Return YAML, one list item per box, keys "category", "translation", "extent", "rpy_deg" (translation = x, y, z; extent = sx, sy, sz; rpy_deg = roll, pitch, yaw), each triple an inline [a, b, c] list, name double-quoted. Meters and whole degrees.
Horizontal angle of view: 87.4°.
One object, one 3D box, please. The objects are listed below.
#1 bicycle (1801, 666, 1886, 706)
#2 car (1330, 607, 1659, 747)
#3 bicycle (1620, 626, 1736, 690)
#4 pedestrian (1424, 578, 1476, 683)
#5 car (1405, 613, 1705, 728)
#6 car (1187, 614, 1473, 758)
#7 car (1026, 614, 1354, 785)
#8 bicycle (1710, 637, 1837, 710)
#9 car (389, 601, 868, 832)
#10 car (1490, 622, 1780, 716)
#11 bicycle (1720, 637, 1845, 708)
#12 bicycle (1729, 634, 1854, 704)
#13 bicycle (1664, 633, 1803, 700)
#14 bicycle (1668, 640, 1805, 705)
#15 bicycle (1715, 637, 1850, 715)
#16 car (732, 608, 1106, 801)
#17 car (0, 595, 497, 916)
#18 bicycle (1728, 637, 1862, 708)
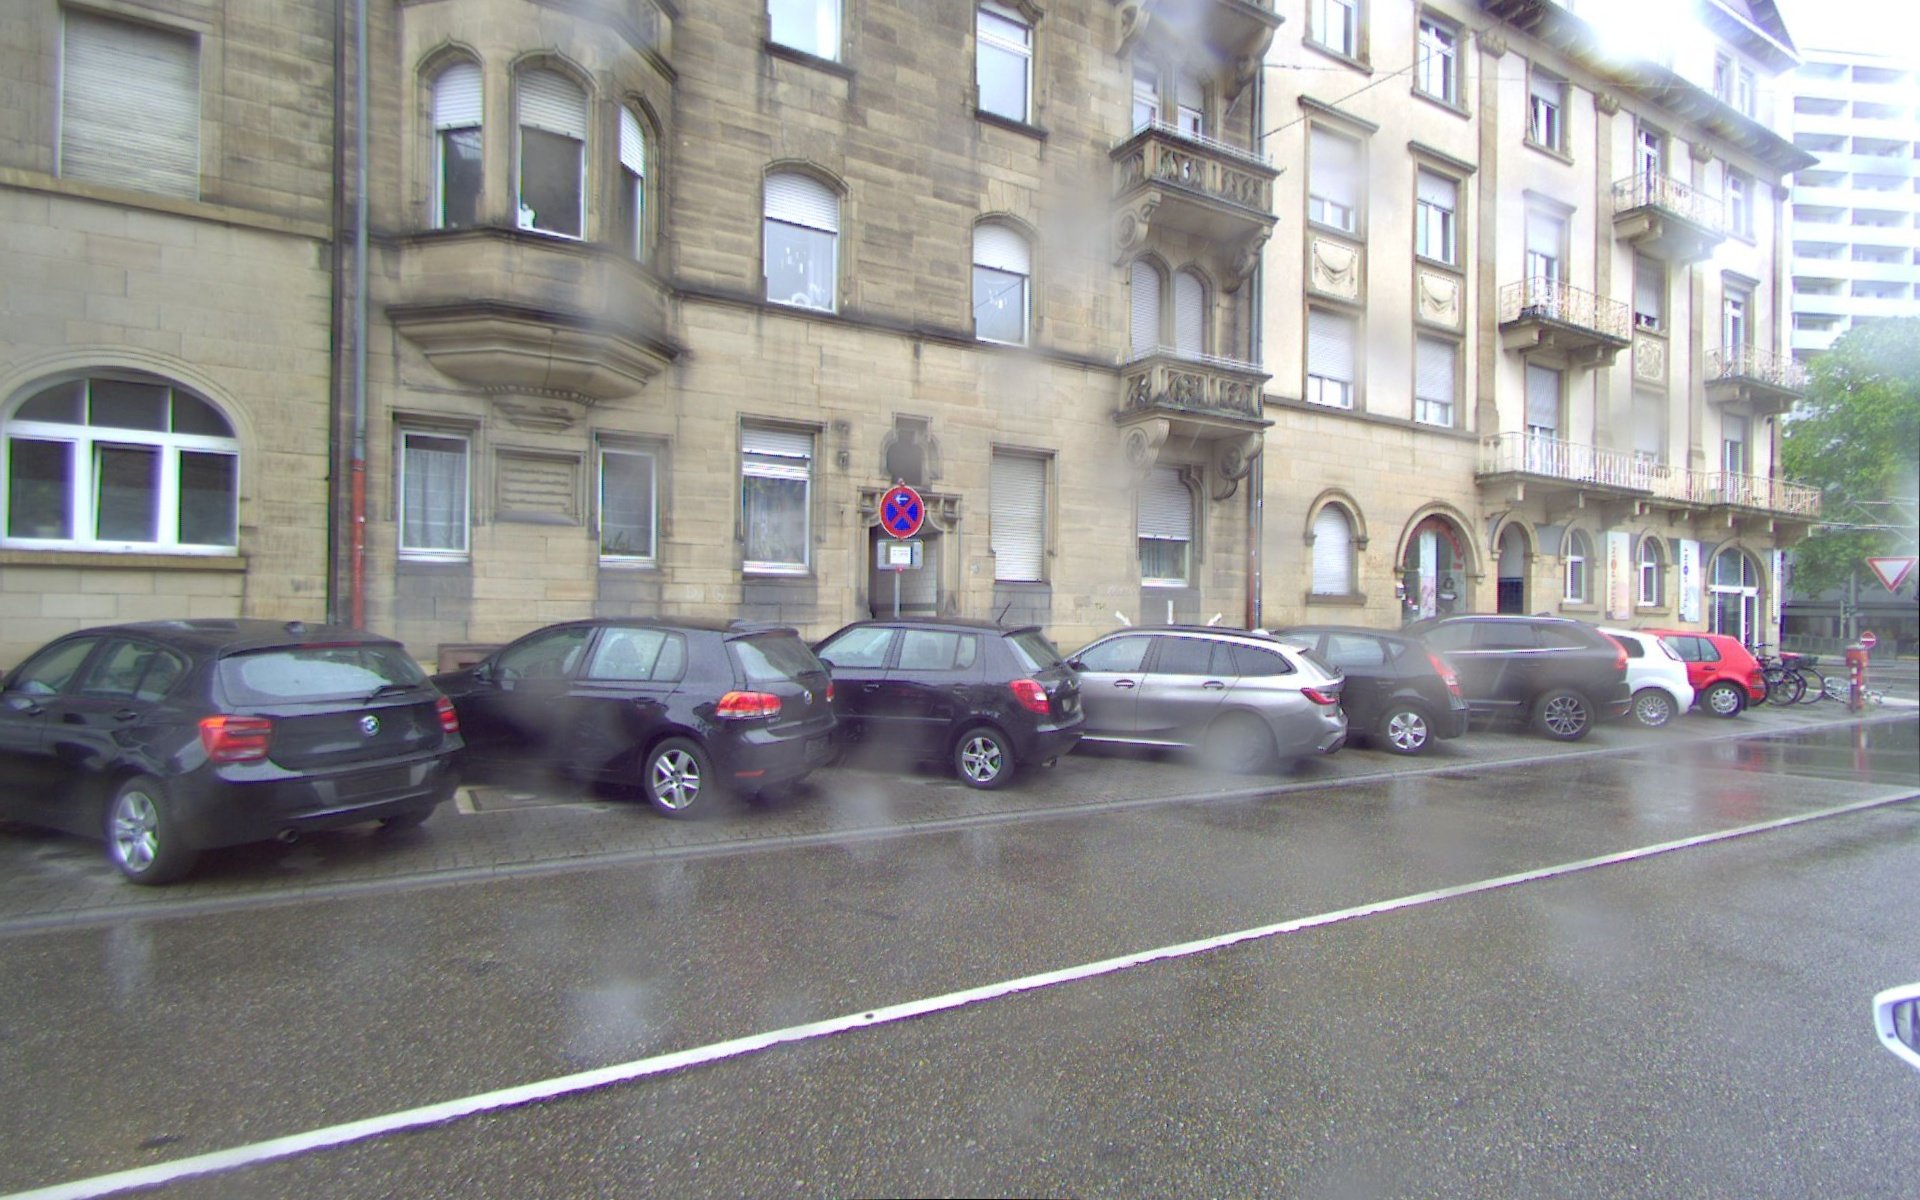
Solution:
- category: "bicycle"
  translation: [18.452, 1.777, 21.016]
  extent: [1.024, 0.672, 1.476]
  rpy_deg: [3, 0, 29]
- category: "car"
  translation: [7.581, 1.017, 14.721]
  extent: [4.005, 1.715, 1.764]
  rpy_deg: [2, 1, 21]
- category: "bicycle"
  translation: [16.060, 1.261, 22.531]
  extent: [0.579, 1.364, 2.044]
  rpy_deg: [1, -1, -34]
- category: "pedestrian"
  translation: [11.236, 0.700, 23.057]
  extent: [0.750, 2.371, 0.847]
  rpy_deg: [1, -1, -8]
- category: "car"
  translation: [9.469, 1.063, 16.356]
  extent: [3.916, 1.554, 1.704]
  rpy_deg: [2, 1, 21]
- category: "car"
  translation: [4.744, 1.018, 13.072]
  extent: [3.246, 1.546, 1.700]
  rpy_deg: [2, 1, 22]
- category: "car"
  translation: [2.616, 1.008, 11.352]
  extent: [3.362, 1.565, 1.701]
  rpy_deg: [2, 1, 21]
- category: "bicycle"
  translation: [15.804, 1.400, 19.565]
  extent: [0.469, 1.200, 1.800]
  rpy_deg: [1, 3, -31]
- category: "car"
  translation: [-2.819, 0.840, 8.630]
  extent: [3.685, 1.565, 1.628]
  rpy_deg: [2, 1, 20]
- category: "car"
  translation: [11.906, 1.187, 17.994]
  extent: [3.919, 1.528, 1.805]
  rpy_deg: [0, -1, 11]
- category: "bicycle"
  translation: [16.219, 1.410, 19.852]
  extent: [0.463, 1.200, 1.800]
  rpy_deg: [1, 2, -31]
- category: "bicycle"
  translation: [17.022, 1.384, 20.624]
  extent: [0.432, 1.347, 1.969]
  rpy_deg: [1, -1, -27]
- category: "bicycle"
  translation: [16.846, 1.415, 21.953]
  extent: [0.634, 1.364, 2.326]
  rpy_deg: [1, -1, -34]
- category: "bicycle"
  translation: [17.309, 1.586, 22.451]
  extent: [0.634, 1.364, 2.326]
  rpy_deg: [1, -2, -34]
- category: "bicycle"
  translation: [15.143, 1.374, 18.552]
  extent: [0.592, 1.201, 1.805]
  rpy_deg: [1, 3, -24]
- category: "car"
  translation: [-0.405, 0.914, 10.135]
  extent: [3.378, 1.565, 1.627]
  rpy_deg: [2, 1, 24]
- category: "car"
  translation: [-5.146, 0.795, 6.734]
  extent: [3.657, 1.565, 1.777]
  rpy_deg: [2, 1, 25]
- category: "bicycle"
  translation: [16.653, 1.409, 20.093]
  extent: [0.470, 1.200, 1.968]
  rpy_deg: [1, 2, -32]
